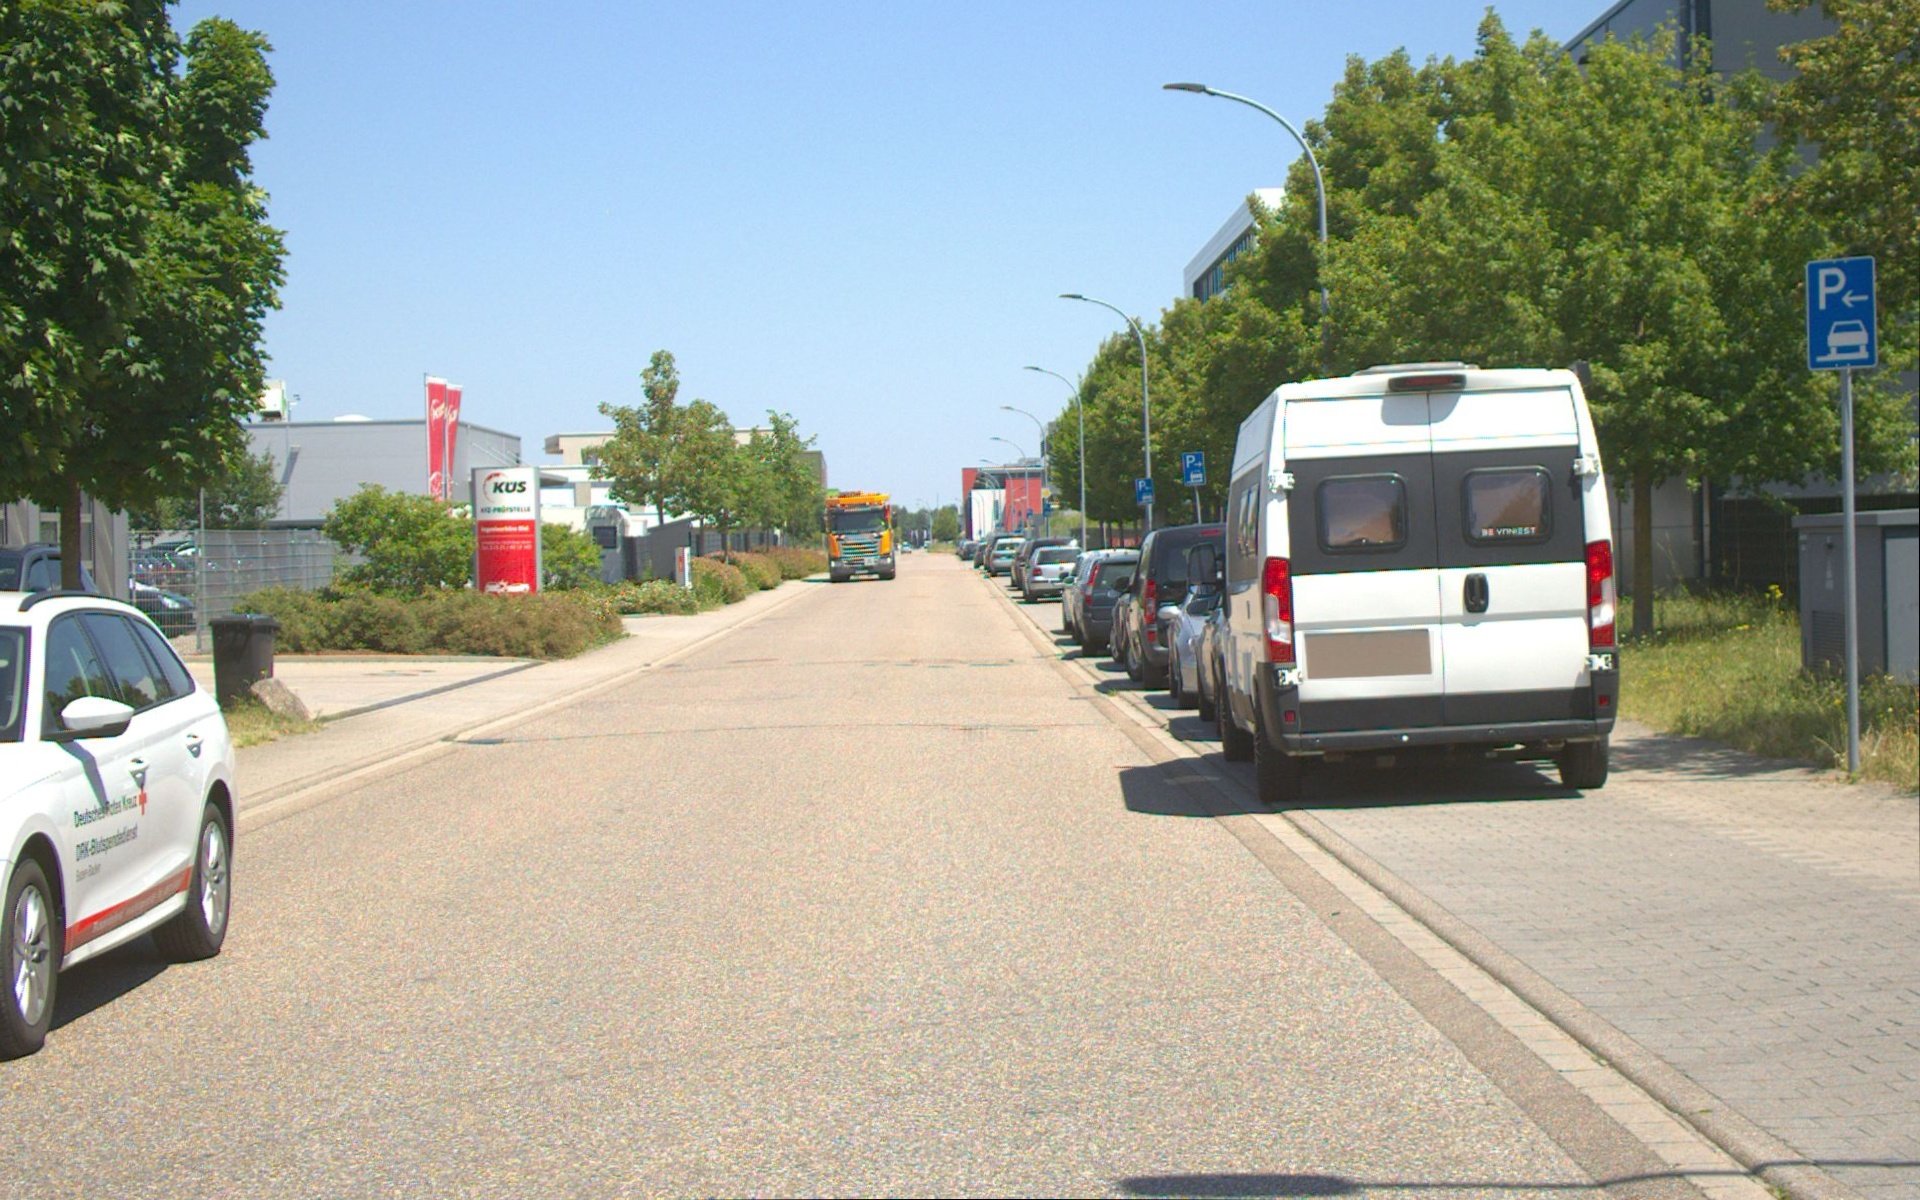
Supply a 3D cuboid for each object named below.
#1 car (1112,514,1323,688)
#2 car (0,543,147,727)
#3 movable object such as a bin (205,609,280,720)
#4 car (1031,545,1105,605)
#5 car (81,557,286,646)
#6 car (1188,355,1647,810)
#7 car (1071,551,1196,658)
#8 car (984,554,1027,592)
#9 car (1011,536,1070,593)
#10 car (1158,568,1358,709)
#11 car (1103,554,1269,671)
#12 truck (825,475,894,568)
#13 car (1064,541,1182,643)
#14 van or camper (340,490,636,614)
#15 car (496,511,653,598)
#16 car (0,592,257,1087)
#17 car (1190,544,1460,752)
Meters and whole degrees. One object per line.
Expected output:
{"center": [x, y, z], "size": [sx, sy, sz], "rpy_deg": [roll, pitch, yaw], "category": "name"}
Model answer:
{"center": [2.894, -0.010, 39.448], "size": [1.993, 1.819, 4.354], "rpy_deg": [-2, 1, -1], "category": "car"}
{"center": [-10.297, 0.306, 36.340], "size": [1.994, 1.729, 4.913], "rpy_deg": [0, 2, 3], "category": "car"}
{"center": [-7.095, 0.633, 34.002], "size": [0.579, 1.062, 0.765], "rpy_deg": [1, 1, -1], "category": "movable object such as a bin"}
{"center": [2.763, -0.666, 88.723], "size": [1.718, 1.445, 3.646], "rpy_deg": [-2, 1, 0], "category": "car"}
{"center": [-14.344, 0.017, 63.626], "size": [3.500, 1.546, 1.558], "rpy_deg": [-1, 1, -5], "category": "car"}
{"center": [2.784, -0.147, 22.463], "size": [2.267, 2.489, 6.152], "rpy_deg": [-2, 1, 2], "category": "car"}
{"center": [2.661, 0.041, 51.842], "size": [1.709, 1.499, 4.705], "rpy_deg": [-2, 1, 5], "category": "car"}
{"center": [1.798, -1.081, 135.775], "size": [1.585, 1.405, 3.500], "rpy_deg": [-1, 1, 0], "category": "car"}
{"center": [2.486, -1.122, 106.635], "size": [1.722, 1.688, 3.984], "rpy_deg": [-1, 1, 0], "category": "car"}
{"center": [2.926, 0.358, 34.404], "size": [1.711, 1.283, 4.115], "rpy_deg": [-2, 0, 2], "category": "car"}
{"center": [2.964, 0.137, 45.949], "size": [1.850, 1.426, 4.713], "rpy_deg": [-2, 1, 0], "category": "car"}
{"center": [-3.952, -3.120, 136.551], "size": [2.448, 3.501, 8.273], "rpy_deg": [-2, 1, 0], "category": "truck"}
{"center": [2.695, -0.169, 57.722], "size": [1.748, 1.556, 4.506], "rpy_deg": [-2, 1, 0], "category": "car"}
{"center": [-12.385, -1.283, 90.633], "size": [7.384, 3.027, 2.790], "rpy_deg": [-1, 1, -1], "category": "van or camper"}
{"center": [-11.971, -1.421, 106.959], "size": [4.714, 2.577, 2.000], "rpy_deg": [-2, 1, -4], "category": "car"}
{"center": [-3.784, 0.732, 12.072], "size": [1.730, 1.453, 4.492], "rpy_deg": [-1, 1, 0], "category": "car"}
{"center": [2.925, 0.331, 28.407], "size": [1.828, 1.488, 4.478], "rpy_deg": [-2, 1, 2], "category": "car"}
